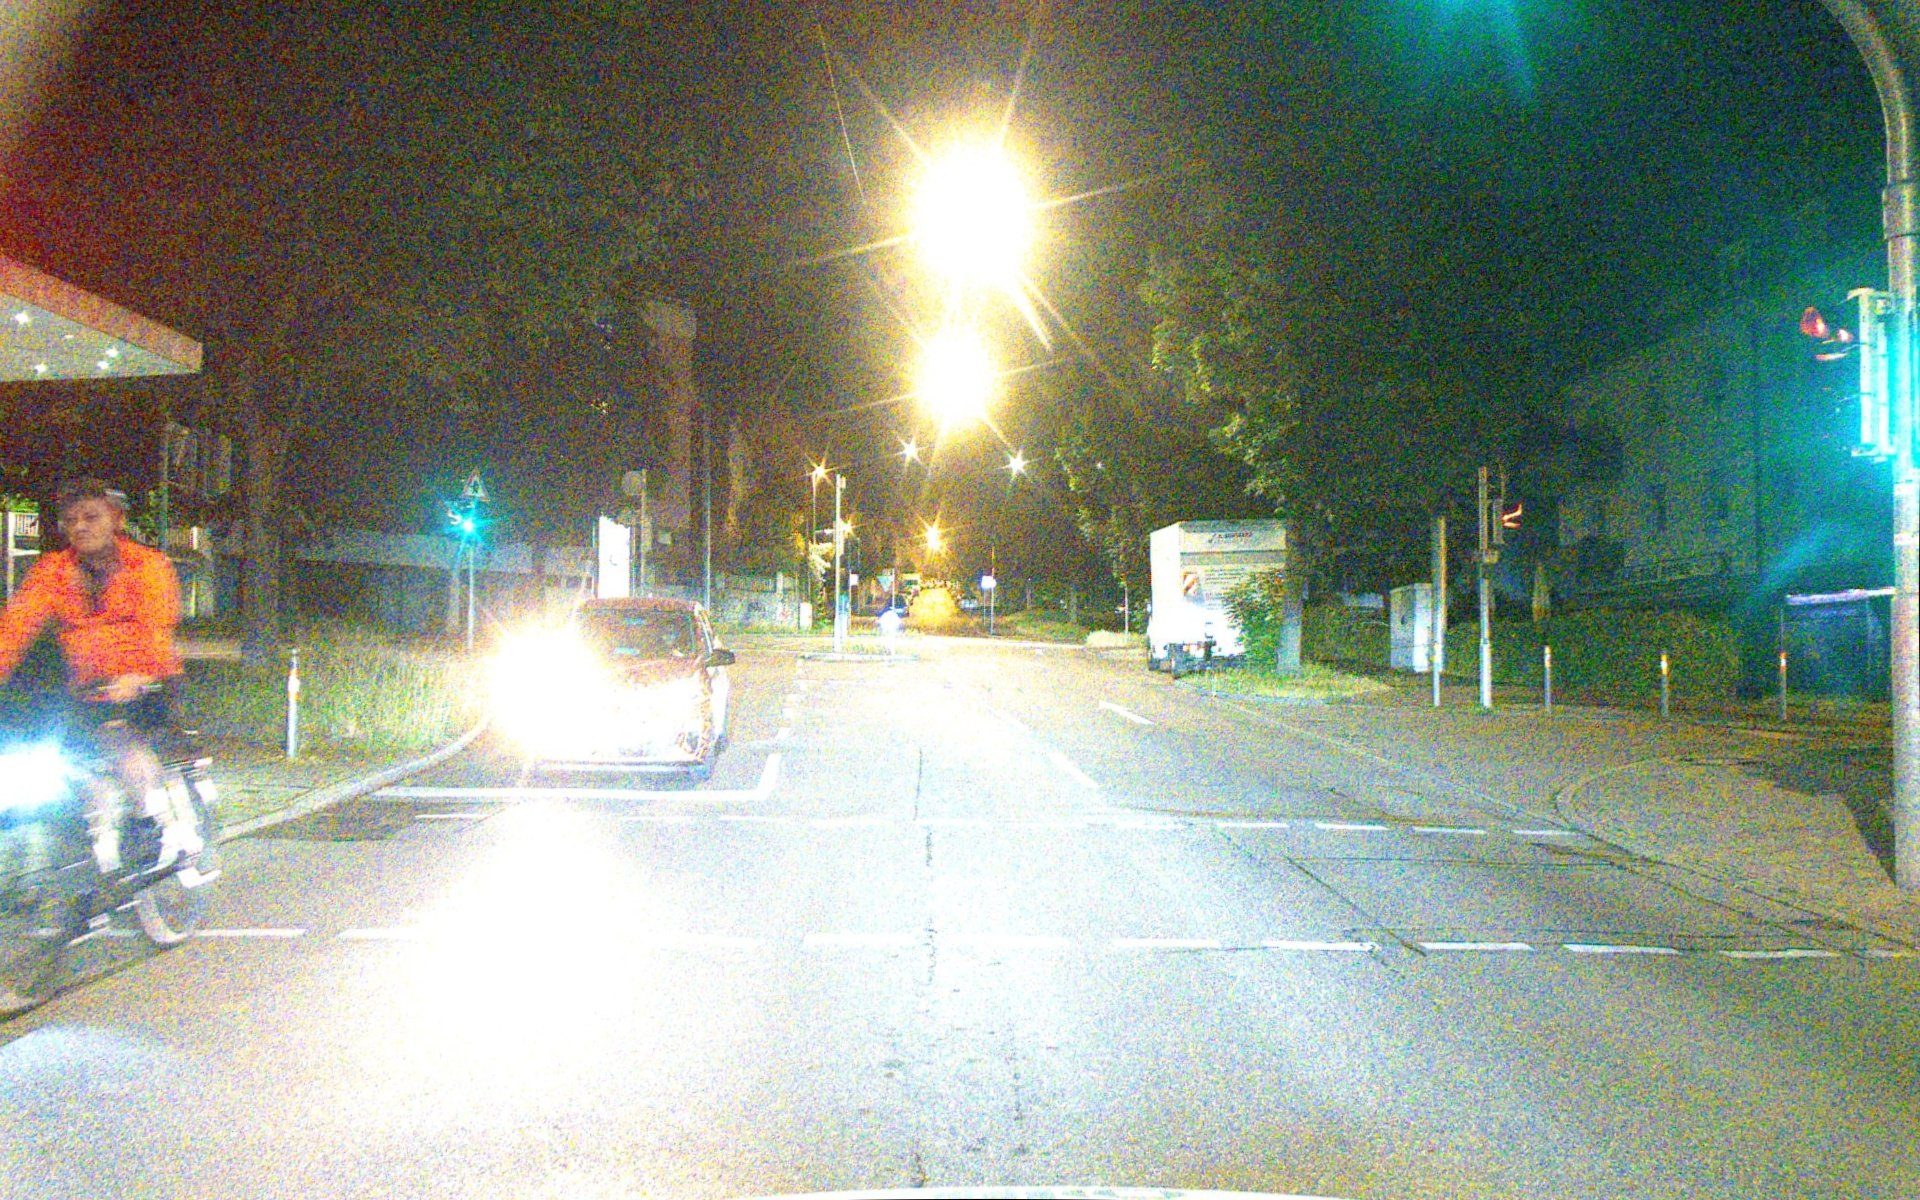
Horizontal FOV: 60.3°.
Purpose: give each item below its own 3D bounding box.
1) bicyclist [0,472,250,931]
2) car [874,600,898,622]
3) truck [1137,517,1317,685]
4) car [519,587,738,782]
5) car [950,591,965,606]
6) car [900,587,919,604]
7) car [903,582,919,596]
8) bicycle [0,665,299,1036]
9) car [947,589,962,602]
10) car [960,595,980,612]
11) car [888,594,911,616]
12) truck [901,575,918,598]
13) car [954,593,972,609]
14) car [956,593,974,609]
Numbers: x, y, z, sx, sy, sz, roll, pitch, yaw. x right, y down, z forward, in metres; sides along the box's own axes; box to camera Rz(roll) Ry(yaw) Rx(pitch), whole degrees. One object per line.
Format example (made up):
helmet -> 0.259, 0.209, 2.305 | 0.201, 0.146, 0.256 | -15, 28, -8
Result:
bicyclist -> -3.323, 0.371, 6.479 | 0.676, 1.666, 0.896 | 1, -1, -1
car -> -5.261, 0.761, 118.123 | 1.601, 1.477, 3.484 | 1, 0, -1
truck -> 5.426, 0.017, 34.705 | 2.693, 3.165, 6.257 | 1, 0, 0
car -> -2.842, 0.661, 14.761 | 1.551, 1.528, 3.392 | 1, 0, -5
car -> -0.260, -0.164, 178.504 | 1.601, 1.477, 3.484 | 1, 0, -1
car -> -4.874, -0.429, 160.489 | 1.779, 1.517, 3.998 | 1, 0, -2
car -> -5.528, -1.195, 186.874 | 1.779, 1.517, 3.998 | 1, 0, -2
bicycle -> -3.331, 0.879, 6.514 | 0.682, 1.169, 1.950 | 1, 0, -1
car -> -0.650, -0.535, 191.471 | 1.601, 1.477, 3.484 | 1, 0, -1
car -> 0.881, 0.298, 143.359 | 1.601, 1.477, 3.484 | 1, 0, -1
car -> -4.894, 0.373, 134.356 | 1.778, 1.713, 3.999 | 1, 0, -1
truck -> -6.430, -1.695, 209.498 | 2.044, 2.897, 5.828 | 1, 0, -2
car -> 0.264, 0.108, 159.270 | 1.601, 1.477, 3.484 | 1, 0, -1
car -> 0.419, 0.071, 153.088 | 1.601, 1.477, 3.484 | 1, 0, -1
